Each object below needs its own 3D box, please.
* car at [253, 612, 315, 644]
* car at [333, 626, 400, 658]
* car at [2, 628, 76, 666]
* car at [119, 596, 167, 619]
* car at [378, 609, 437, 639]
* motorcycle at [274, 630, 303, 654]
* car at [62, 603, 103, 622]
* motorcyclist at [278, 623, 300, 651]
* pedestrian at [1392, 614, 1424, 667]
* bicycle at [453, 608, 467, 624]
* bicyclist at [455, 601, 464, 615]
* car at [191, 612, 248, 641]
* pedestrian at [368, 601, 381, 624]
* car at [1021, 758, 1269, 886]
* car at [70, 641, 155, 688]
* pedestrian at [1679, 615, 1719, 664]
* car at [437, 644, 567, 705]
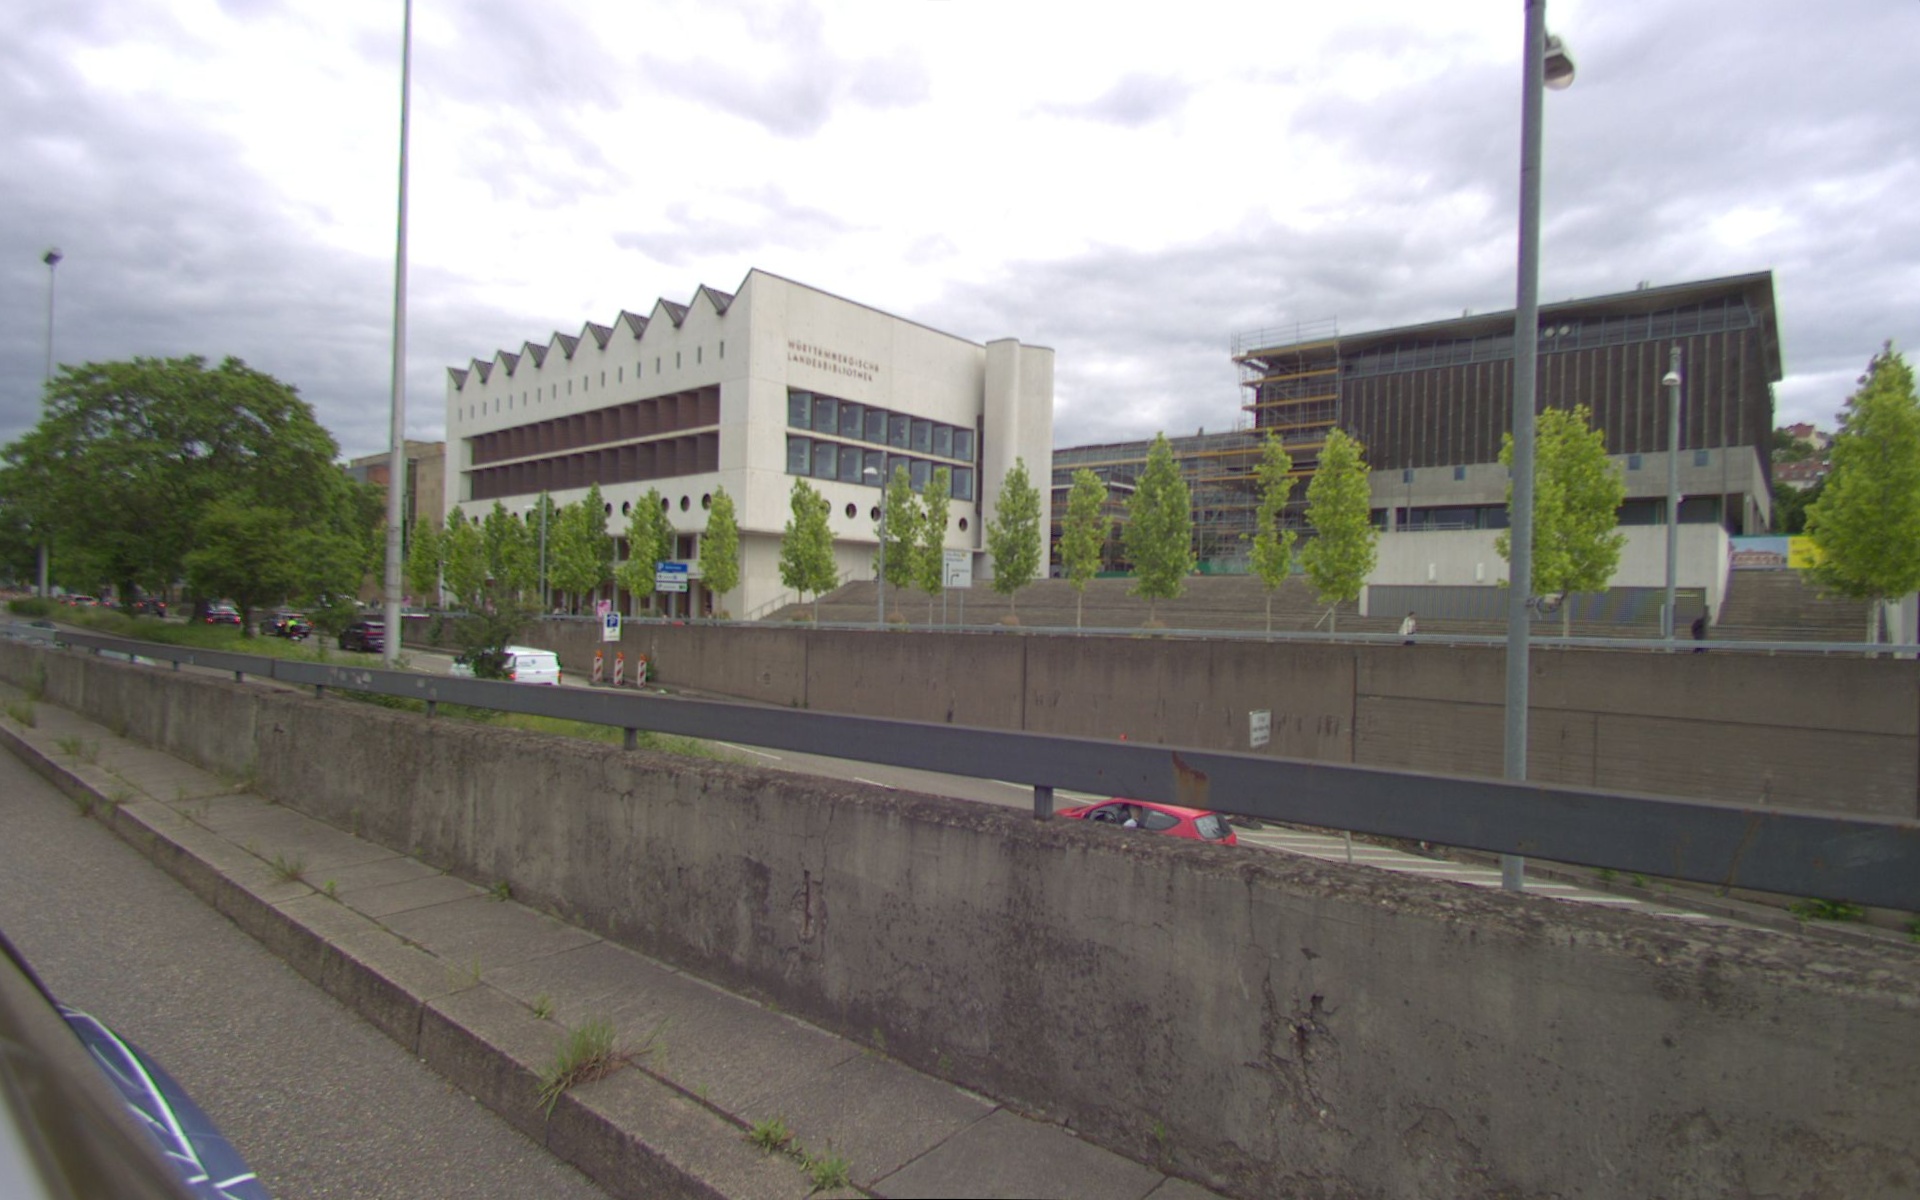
[{"bbox_3d":[-41.453,1.682,62.048,4.386,1.624,1.852,4,0,38],"label":"car"},{"bbox_3d":[-31.326,2.210,53.370,4.003,1.338,1.787,4,0,40],"label":"car"},{"bbox_3d":[-38.365,1.908,42.133,4.089,1.425,1.764,0,0,40],"label":"car"},{"bbox_3d":[-67.018,0.620,82.987,4.514,1.657,2.133,2,-2,40],"label":"car"},{"bbox_3d":[-35.369,1.534,64.783,3.998,1.776,1.973,0,-3,41],"label":"car"},{"bbox_3d":[-35.122,2.187,52.910,2.050,1.106,0.678,3,-2,41],"label":"motorcycle"},{"bbox_3d":[-73.497,1.038,84.756,3.998,1.409,1.973,0,-4,41],"label":"car"},{"bbox_3d":[-35.147,1.928,52.988,0.718,1.362,0.662,3,-3,41],"label":"motorcyclist"},{"bbox_3d":[17.444,1.566,39.410,0.728,2.029,0.795,0,-2,-20],"label":"pedestrian"},{"bbox_3d":[-41.185,1.328,83.362,1.697,1.282,0.398,1,1,39],"label":"bicycle"},{"bbox_3d":[-41.222,0.650,83.375,0.643,1.169,0.398,1,1,39],"label":"bicyclist"},{"bbox_3d":[-44.487,1.583,60.759,4.144,1.500,1.757,3,0,40],"label":"car"},{"bbox_3d":[-53.465,1.145,92.386,1.016,2.029,0.712,1,1,42],"label":"pedestrian"},{"bbox_3d":[3.283,3.896,18.370,3.999,1.497,1.972,-1,-2,42],"label":"car"},{"bbox_3d":[-29.815,2.214,35.577,4.089,1.425,1.636,0,0,40],"label":"car"},{"bbox_3d":[25.475,1.356,34.891,0.728,1.655,0.795,0,-2,-21],"label":"pedestrian"},{"bbox_3d":[-16.257,2.598,35.799,5.246,1.651,1.973,2,-5,40],"label":"car"}]
